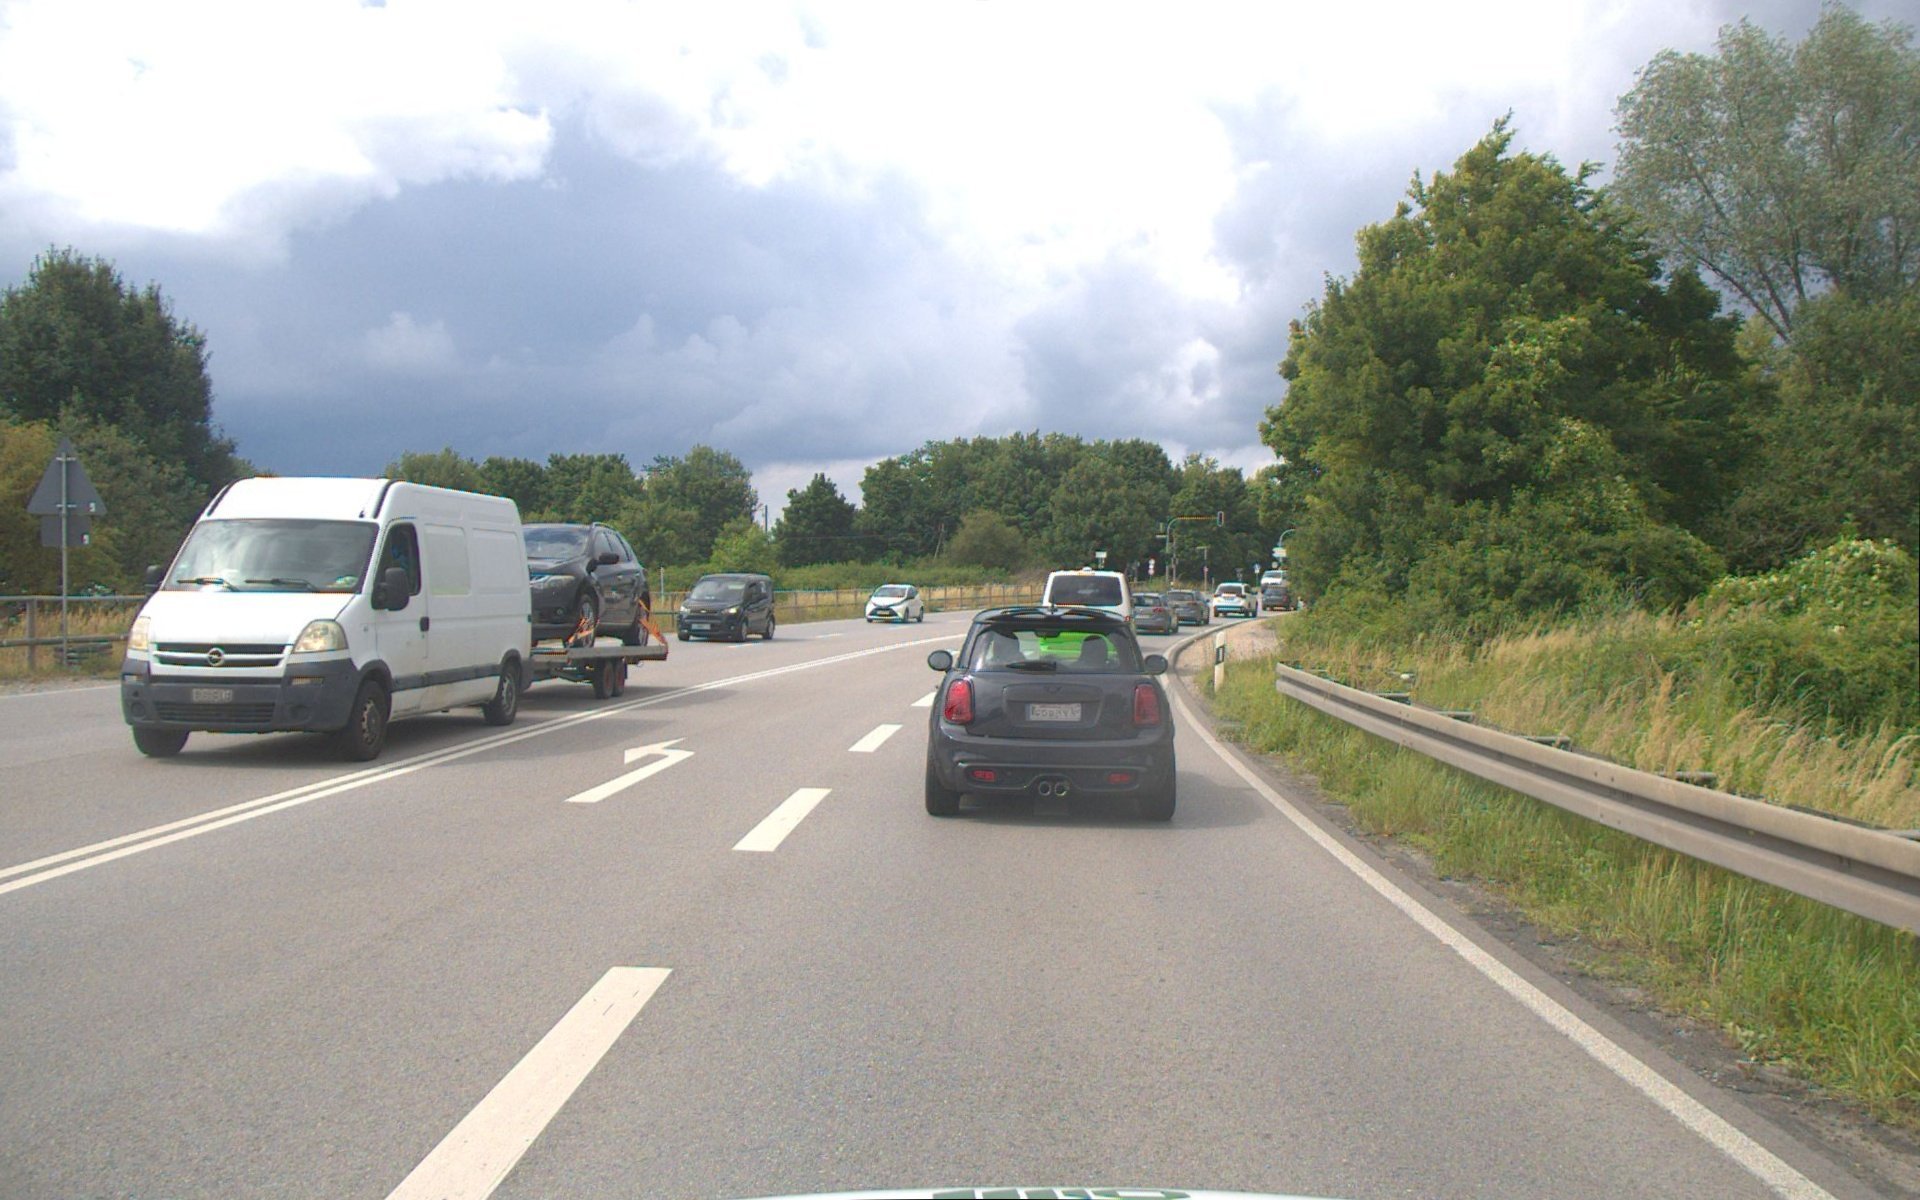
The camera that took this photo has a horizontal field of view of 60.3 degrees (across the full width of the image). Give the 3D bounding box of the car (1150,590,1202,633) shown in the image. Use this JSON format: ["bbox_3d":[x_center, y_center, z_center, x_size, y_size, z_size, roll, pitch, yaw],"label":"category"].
[{"bbox_3d":[9.105,0.485,69.582,1.951,1.713,3.980,2,0,10],"label":"car"}]

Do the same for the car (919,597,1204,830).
[{"bbox_3d":[0.628,0.741,12.604,1.807,1.453,3.840,2,0,-1],"label":"car"}]

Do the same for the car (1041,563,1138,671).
[{"bbox_3d":[2.658,0.332,33.495,1.806,2.022,3.843,1,0,6],"label":"car"}]

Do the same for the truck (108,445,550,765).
[{"bbox_3d":[-5.638,0.022,15.644,1.981,2.487,5.026,2,0,3],"label":"truck"}]

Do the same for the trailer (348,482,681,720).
[{"bbox_3d":[-5.336,-0.005,21.088,1.981,2.487,6.969,2,0,3],"label":"trailer"}]

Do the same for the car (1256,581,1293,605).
[{"bbox_3d":[27.160,-0.600,142.631,1.955,2.049,4.662,1,1,26],"label":"car"}]

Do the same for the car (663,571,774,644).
[{"bbox_3d":[-6.423,0.172,44.447,1.951,1.828,4.323,1,1,6],"label":"car"}]

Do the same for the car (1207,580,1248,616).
[{"bbox_3d":[13.472,-0.078,83.152,1.951,1.713,4.003,2,0,10],"label":"car"}]

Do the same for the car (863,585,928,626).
[{"bbox_3d":[-2.520,0.211,65.170,1.836,1.515,3.747,1,1,9],"label":"car"}]

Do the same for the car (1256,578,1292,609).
[{"bbox_3d":[18.310,-0.356,96.699,1.951,1.713,4.003,2,0,10],"label":"car"}]

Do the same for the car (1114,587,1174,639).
[{"bbox_3d":[6.575,0.453,58.707,1.951,1.713,4.003,2,0,8],"label":"car"}]
